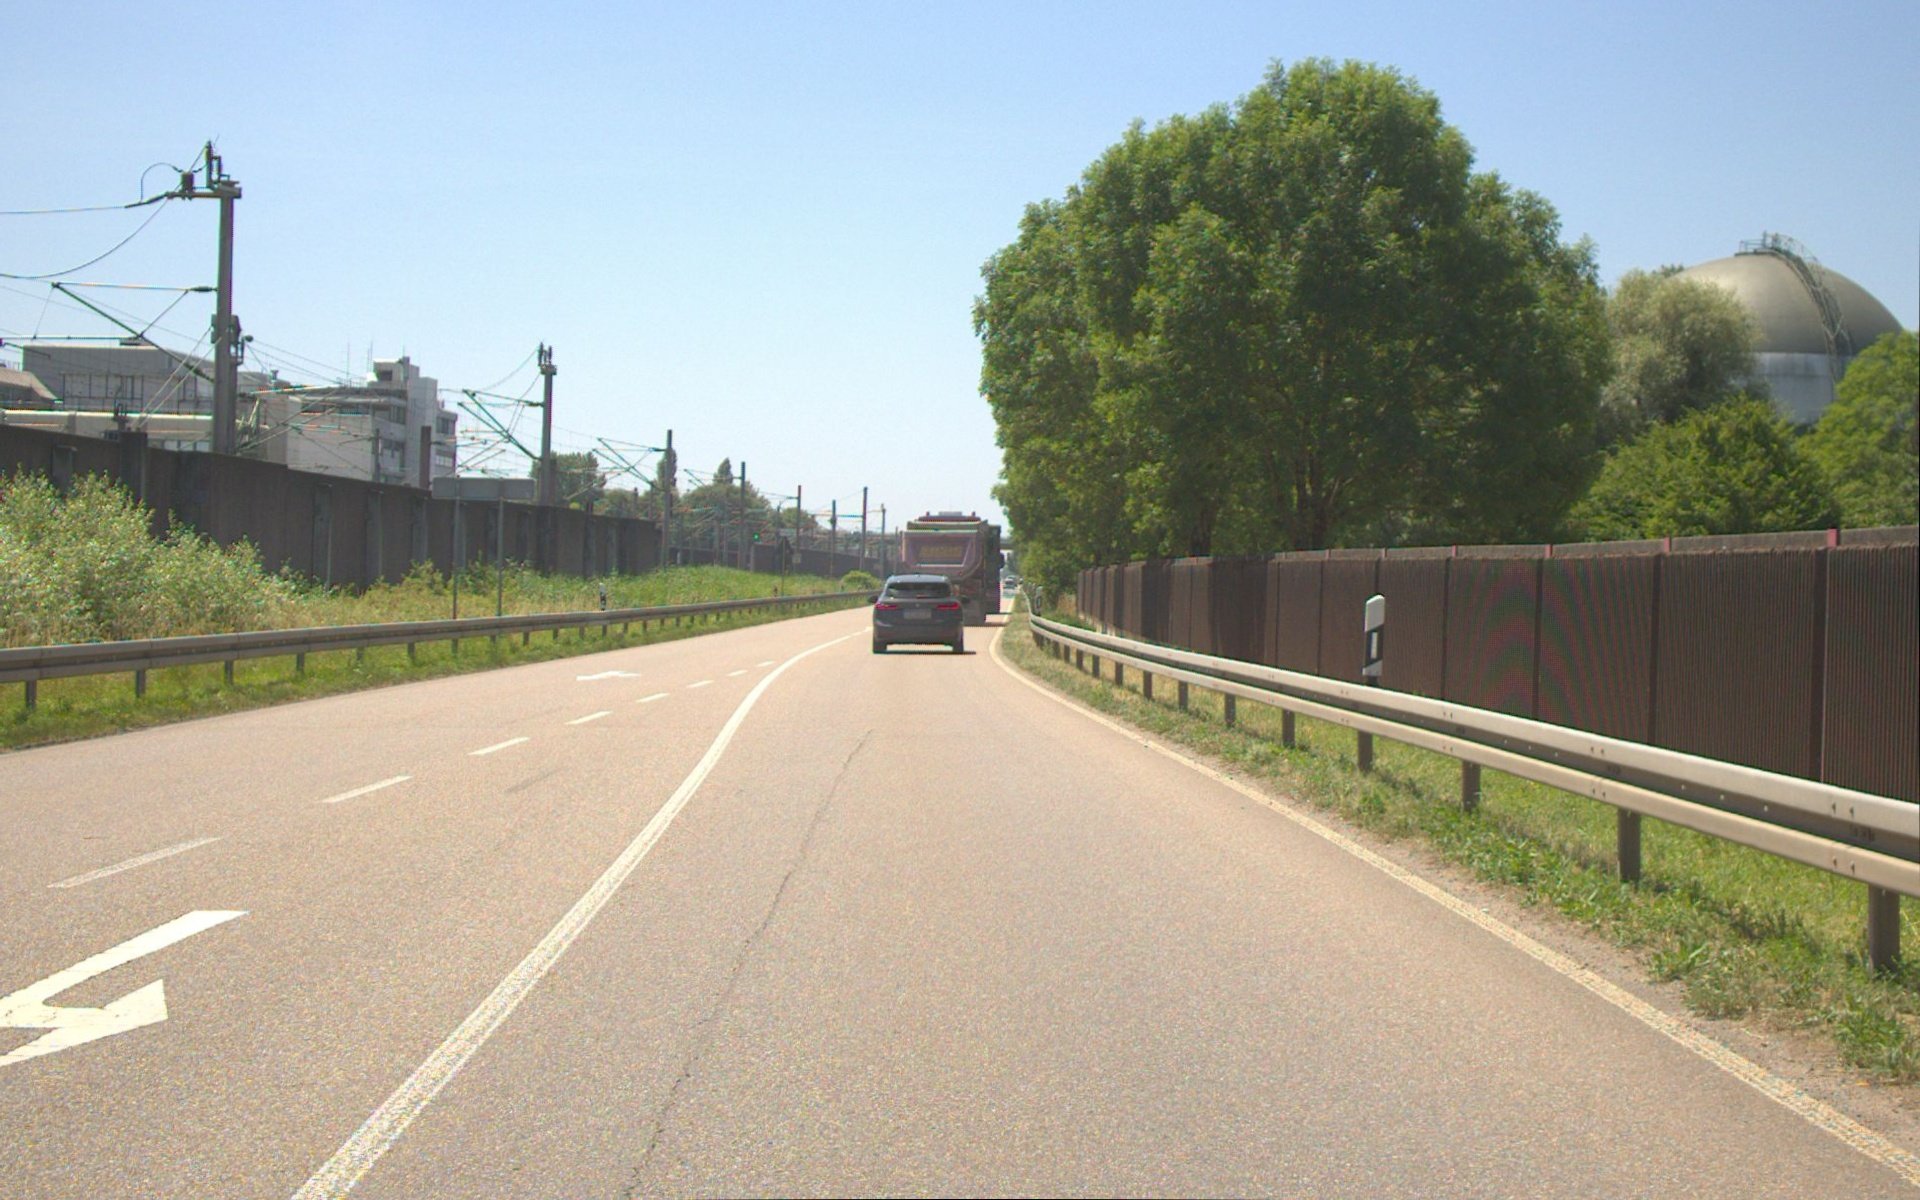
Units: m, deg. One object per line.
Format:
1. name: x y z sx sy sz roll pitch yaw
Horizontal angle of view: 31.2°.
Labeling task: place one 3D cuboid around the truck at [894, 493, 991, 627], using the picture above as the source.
1. truck: -0.528 -1.221 113.689 2.996 4.166 11.807 1 0 0

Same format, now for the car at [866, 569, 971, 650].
1. car: -0.803 0.212 69.054 1.993 1.498 4.000 1 -1 0
